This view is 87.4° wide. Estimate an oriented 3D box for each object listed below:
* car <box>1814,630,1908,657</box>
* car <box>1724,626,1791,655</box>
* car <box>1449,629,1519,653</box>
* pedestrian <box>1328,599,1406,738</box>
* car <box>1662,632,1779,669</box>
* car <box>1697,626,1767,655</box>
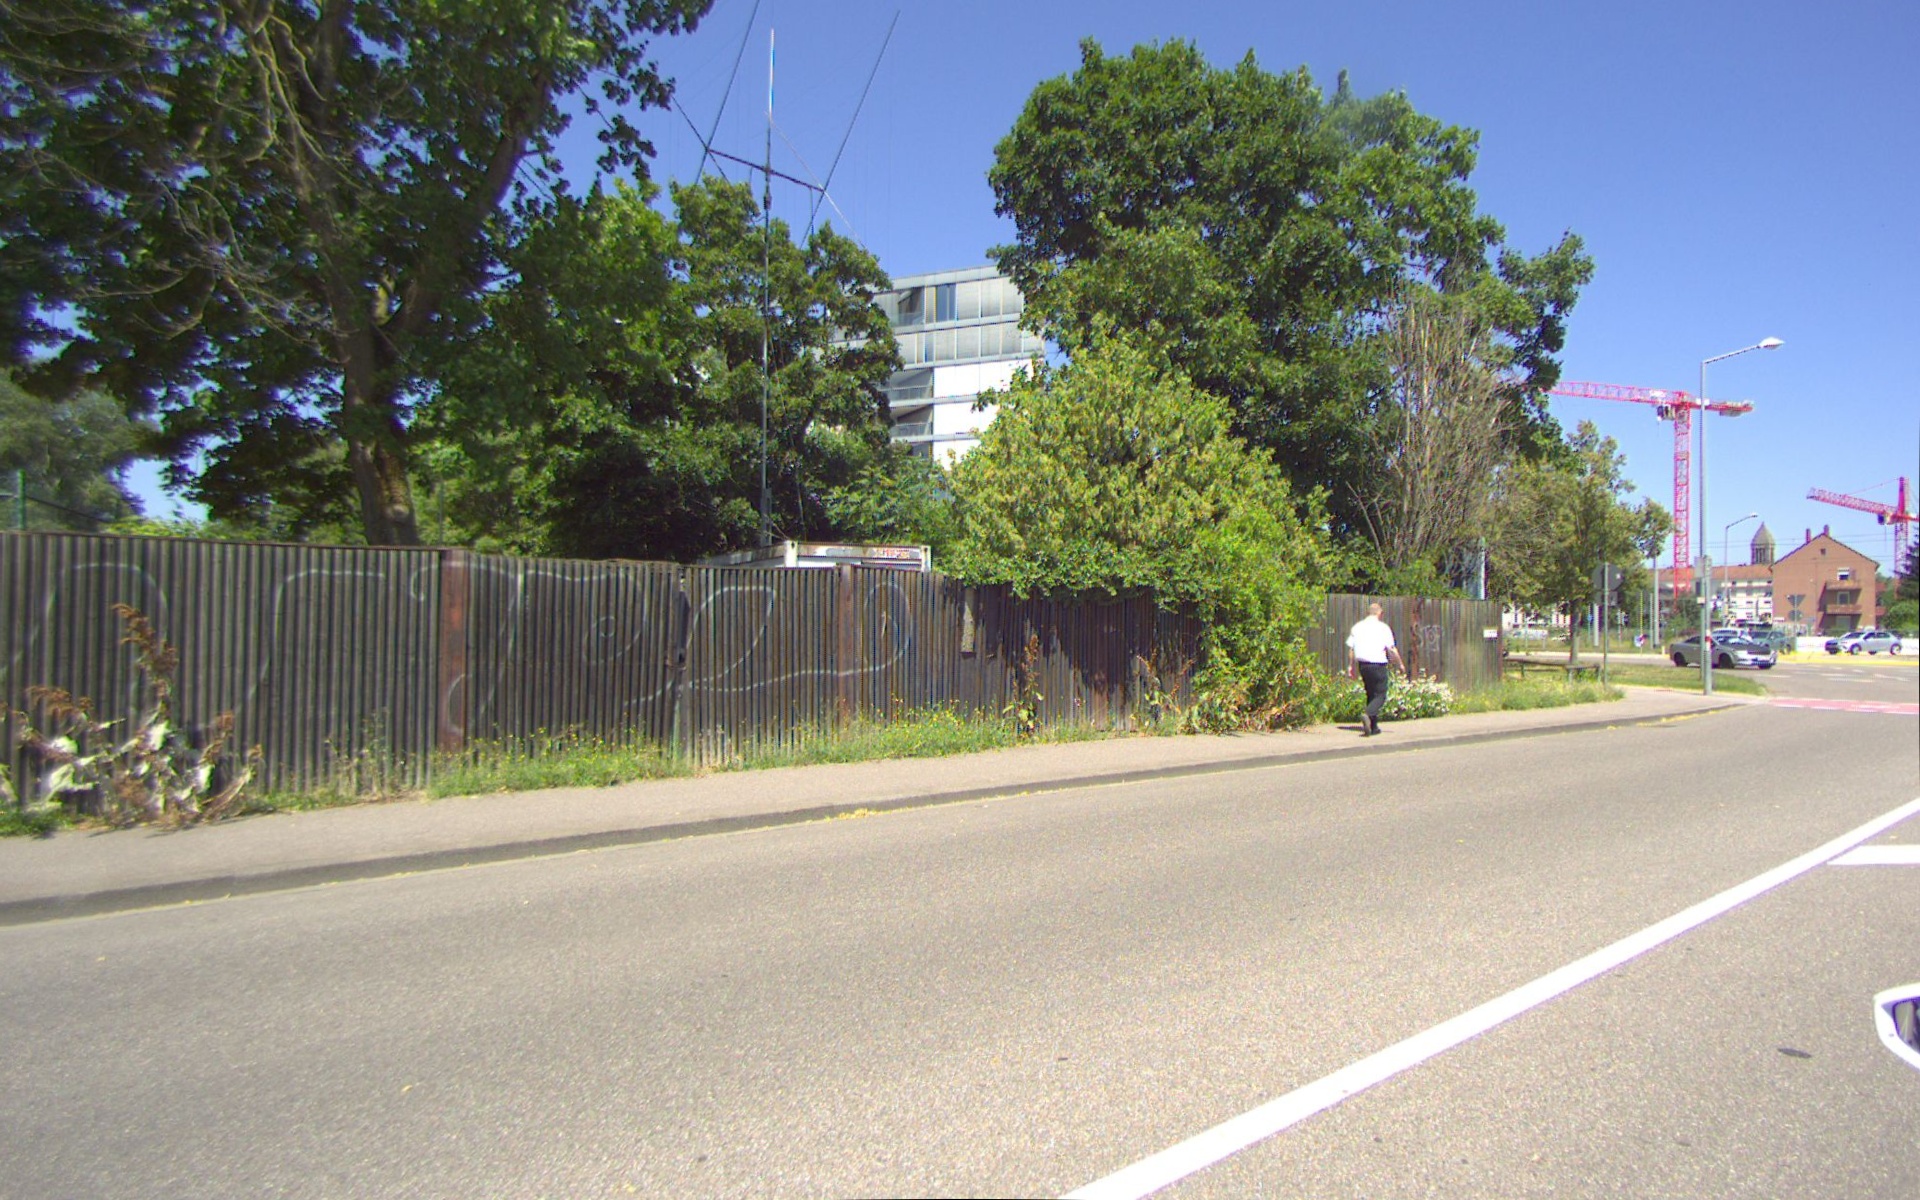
[{"bbox_3d":[55.592,2.656,62.037,4.136,1.520,1.713,1,-1,3],"label":"car"},{"bbox_3d":[46.662,2.363,58.752,3.953,1.570,1.748,2,-1,-30],"label":"car"},{"bbox_3d":[31.402,2.451,60.269,1.791,1.334,3.649,1,-1,-12],"label":"car"},{"bbox_3d":[5.633,0.923,13.895,0.841,1.849,0.589,1,0,-30],"label":"pedestrian"},{"bbox_3d":[31.176,2.046,41.337,1.786,1.334,4.280,1,-1,5],"label":"car"},{"bbox_3d":[42.985,2.254,55.909,3.953,1.570,1.748,2,-1,-30],"label":"car"}]
